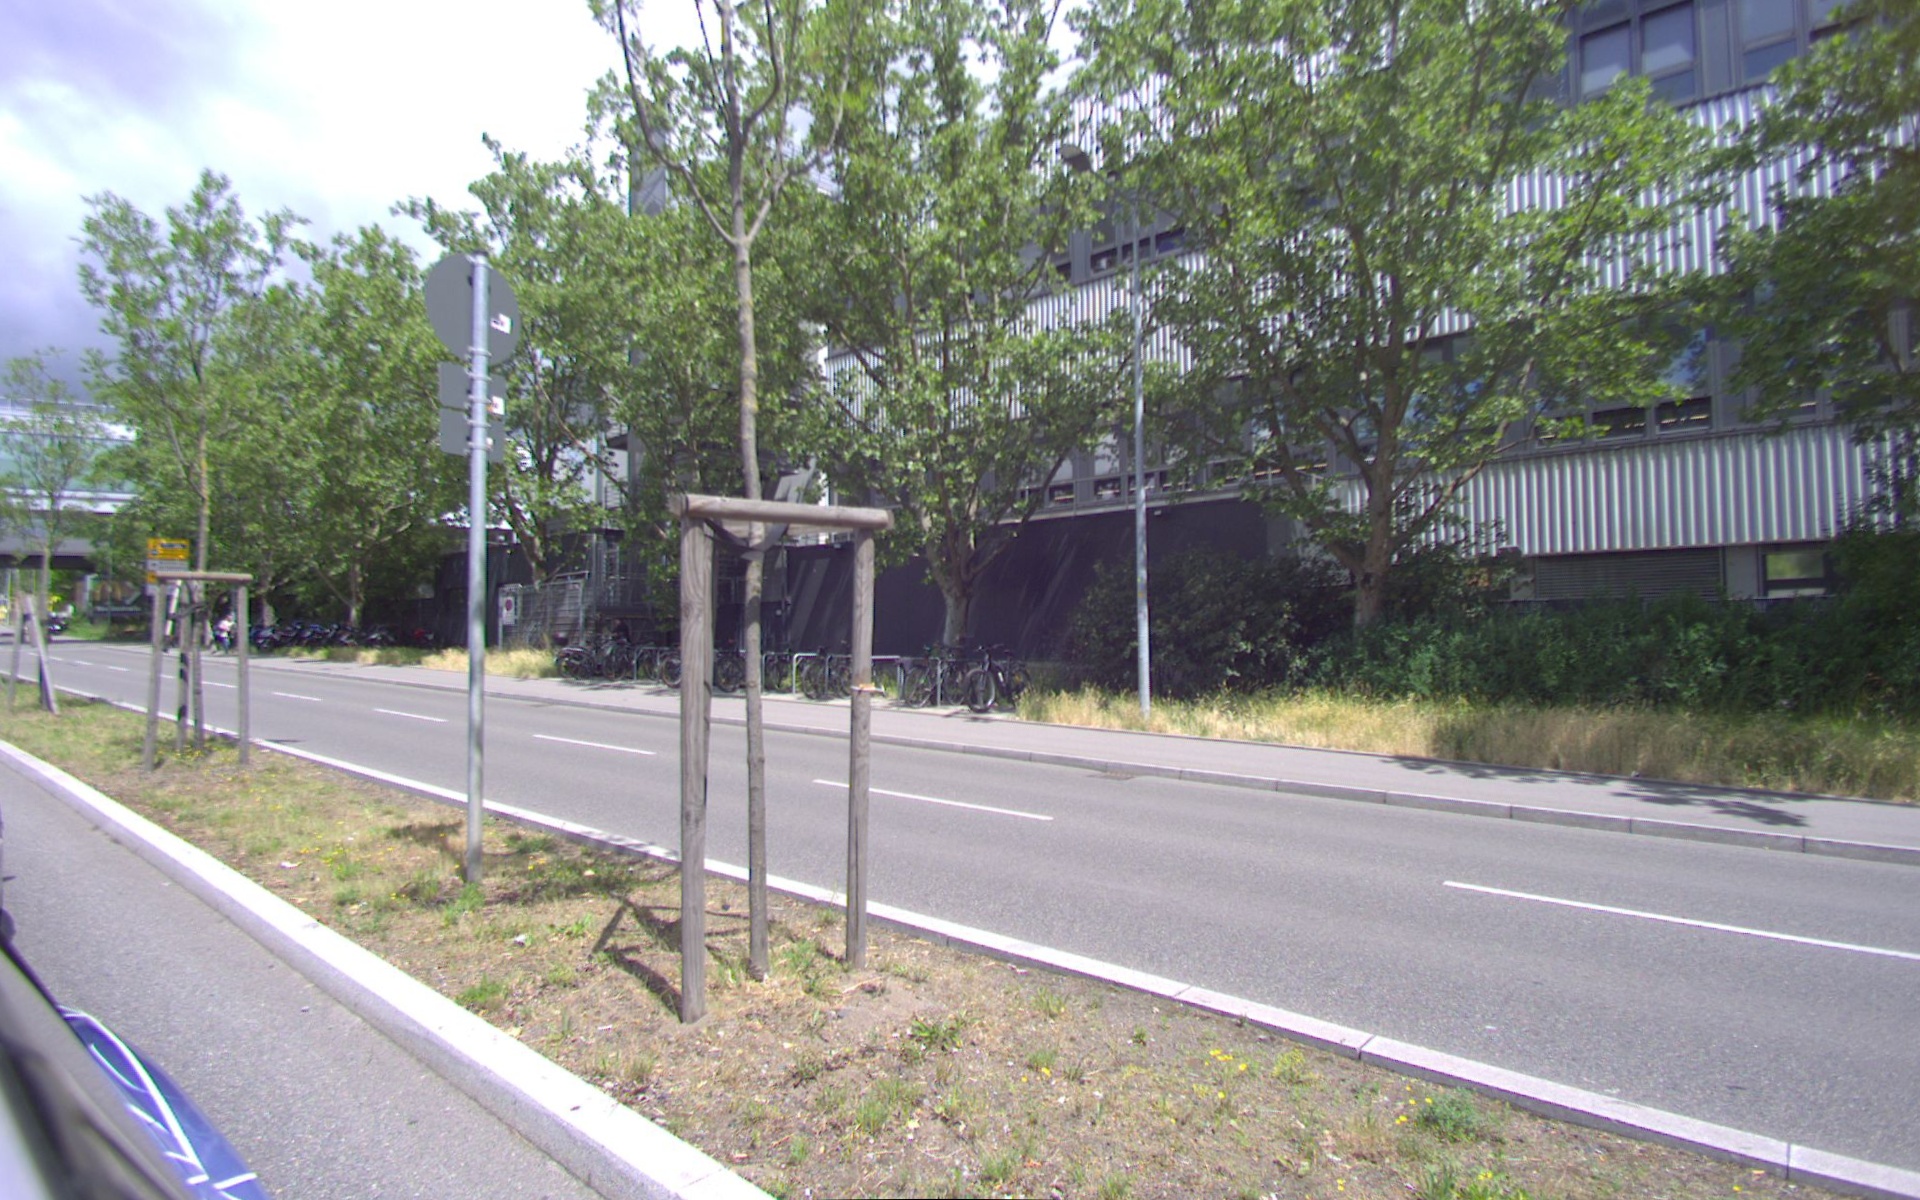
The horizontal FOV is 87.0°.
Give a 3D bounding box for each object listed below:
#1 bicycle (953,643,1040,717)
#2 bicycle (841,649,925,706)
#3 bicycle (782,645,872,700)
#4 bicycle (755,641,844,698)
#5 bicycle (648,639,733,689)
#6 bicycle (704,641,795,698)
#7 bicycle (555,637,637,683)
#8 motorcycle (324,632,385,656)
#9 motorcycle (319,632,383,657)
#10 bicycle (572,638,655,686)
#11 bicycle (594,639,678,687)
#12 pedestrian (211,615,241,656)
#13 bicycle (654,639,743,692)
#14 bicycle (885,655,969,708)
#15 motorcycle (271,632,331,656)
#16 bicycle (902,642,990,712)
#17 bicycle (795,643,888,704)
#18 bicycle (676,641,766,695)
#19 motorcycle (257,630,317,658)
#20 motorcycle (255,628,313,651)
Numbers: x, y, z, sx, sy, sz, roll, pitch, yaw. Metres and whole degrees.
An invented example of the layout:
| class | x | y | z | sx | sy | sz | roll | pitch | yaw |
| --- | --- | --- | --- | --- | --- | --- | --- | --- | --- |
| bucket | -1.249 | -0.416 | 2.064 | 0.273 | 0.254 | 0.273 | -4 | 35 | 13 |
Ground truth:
| class | x | y | z | sx | sy | sz | roll | pitch | yaw |
| --- | --- | --- | --- | --- | --- | --- | --- | --- | --- |
| bicycle | 0.658 | 1.344 | 17.400 | 0.381 | 1.137 | 1.968 | -2 | -1 | 39 |
| bicycle | -1.471 | 1.482 | 19.709 | 0.381 | 1.005 | 1.968 | -2 | -1 | 39 |
| bicycle | -2.745 | 1.485 | 21.139 | 0.382 | 1.038 | 2.101 | -2 | -1 | 43 |
| bicycle | -3.413 | 1.462 | 21.753 | 0.382 | 1.119 | 2.101 | -2 | -1 | 43 |
| bicycle | -6.482 | 1.517 | 24.416 | 0.382 | 1.119 | 2.101 | -2 | -1 | 43 |
| bicycle | -4.544 | 1.485 | 22.019 | 0.382 | 1.119 | 2.101 | -2 | -1 | 43 |
| bicycle | -9.547 | 1.558 | 26.634 | 0.382 | 1.119 | 2.101 | -2 | -1 | 43 |
| motorcycle | -25.034 | 1.810 | 41.880 | 0.534 | 0.892 | 2.105 | -2 | -1 | 41 |
| motorcycle | -23.947 | 1.730 | 39.830 | 0.534 | 0.905 | 2.105 | -2 | -1 | 41 |
| bicycle | -8.906 | 1.577 | 26.088 | 0.382 | 1.119 | 2.101 | -2 | -1 | 43 |
| bicycle | -8.162 | 1.573 | 25.540 | 0.382 | 1.119 | 2.101 | -2 | -1 | 43 |
| pedestrian | -31.680 | 1.520 | 43.672 | 0.672 | 1.734 | 0.888 | -2 | -2 | 41 |
| bicycle | -5.992 | 1.489 | 23.266 | 0.382 | 1.119 | 2.101 | -2 | -1 | 43 |
| bicycle | -0.599 | 1.526 | 19.223 | 0.381 | 0.897 | 1.968 | -2 | -1 | 39 |
| motorcycle | -28.092 | 1.857 | 43.176 | 0.534 | 0.976 | 2.105 | -2 | -1 | 41 |
| bicycle | -0.221 | 1.340 | 18.122 | 0.381 | 1.137 | 1.968 | -2 | -1 | 39 |
| bicycle | -2.342 | 1.440 | 20.231 | 0.382 | 1.104 | 2.101 | -2 | -1 | 43 |
| bicycle | -5.335 | 1.494 | 22.670 | 0.382 | 1.119 | 2.101 | -2 | -1 | 43 |
| motorcycle | -29.208 | 1.886 | 43.970 | 0.534 | 1.146 | 2.105 | -2 | -1 | 41 |
| motorcycle | -30.100 | 1.735 | 45.084 | 0.534 | 0.976 | 2.105 | -2 | -1 | 41 |
